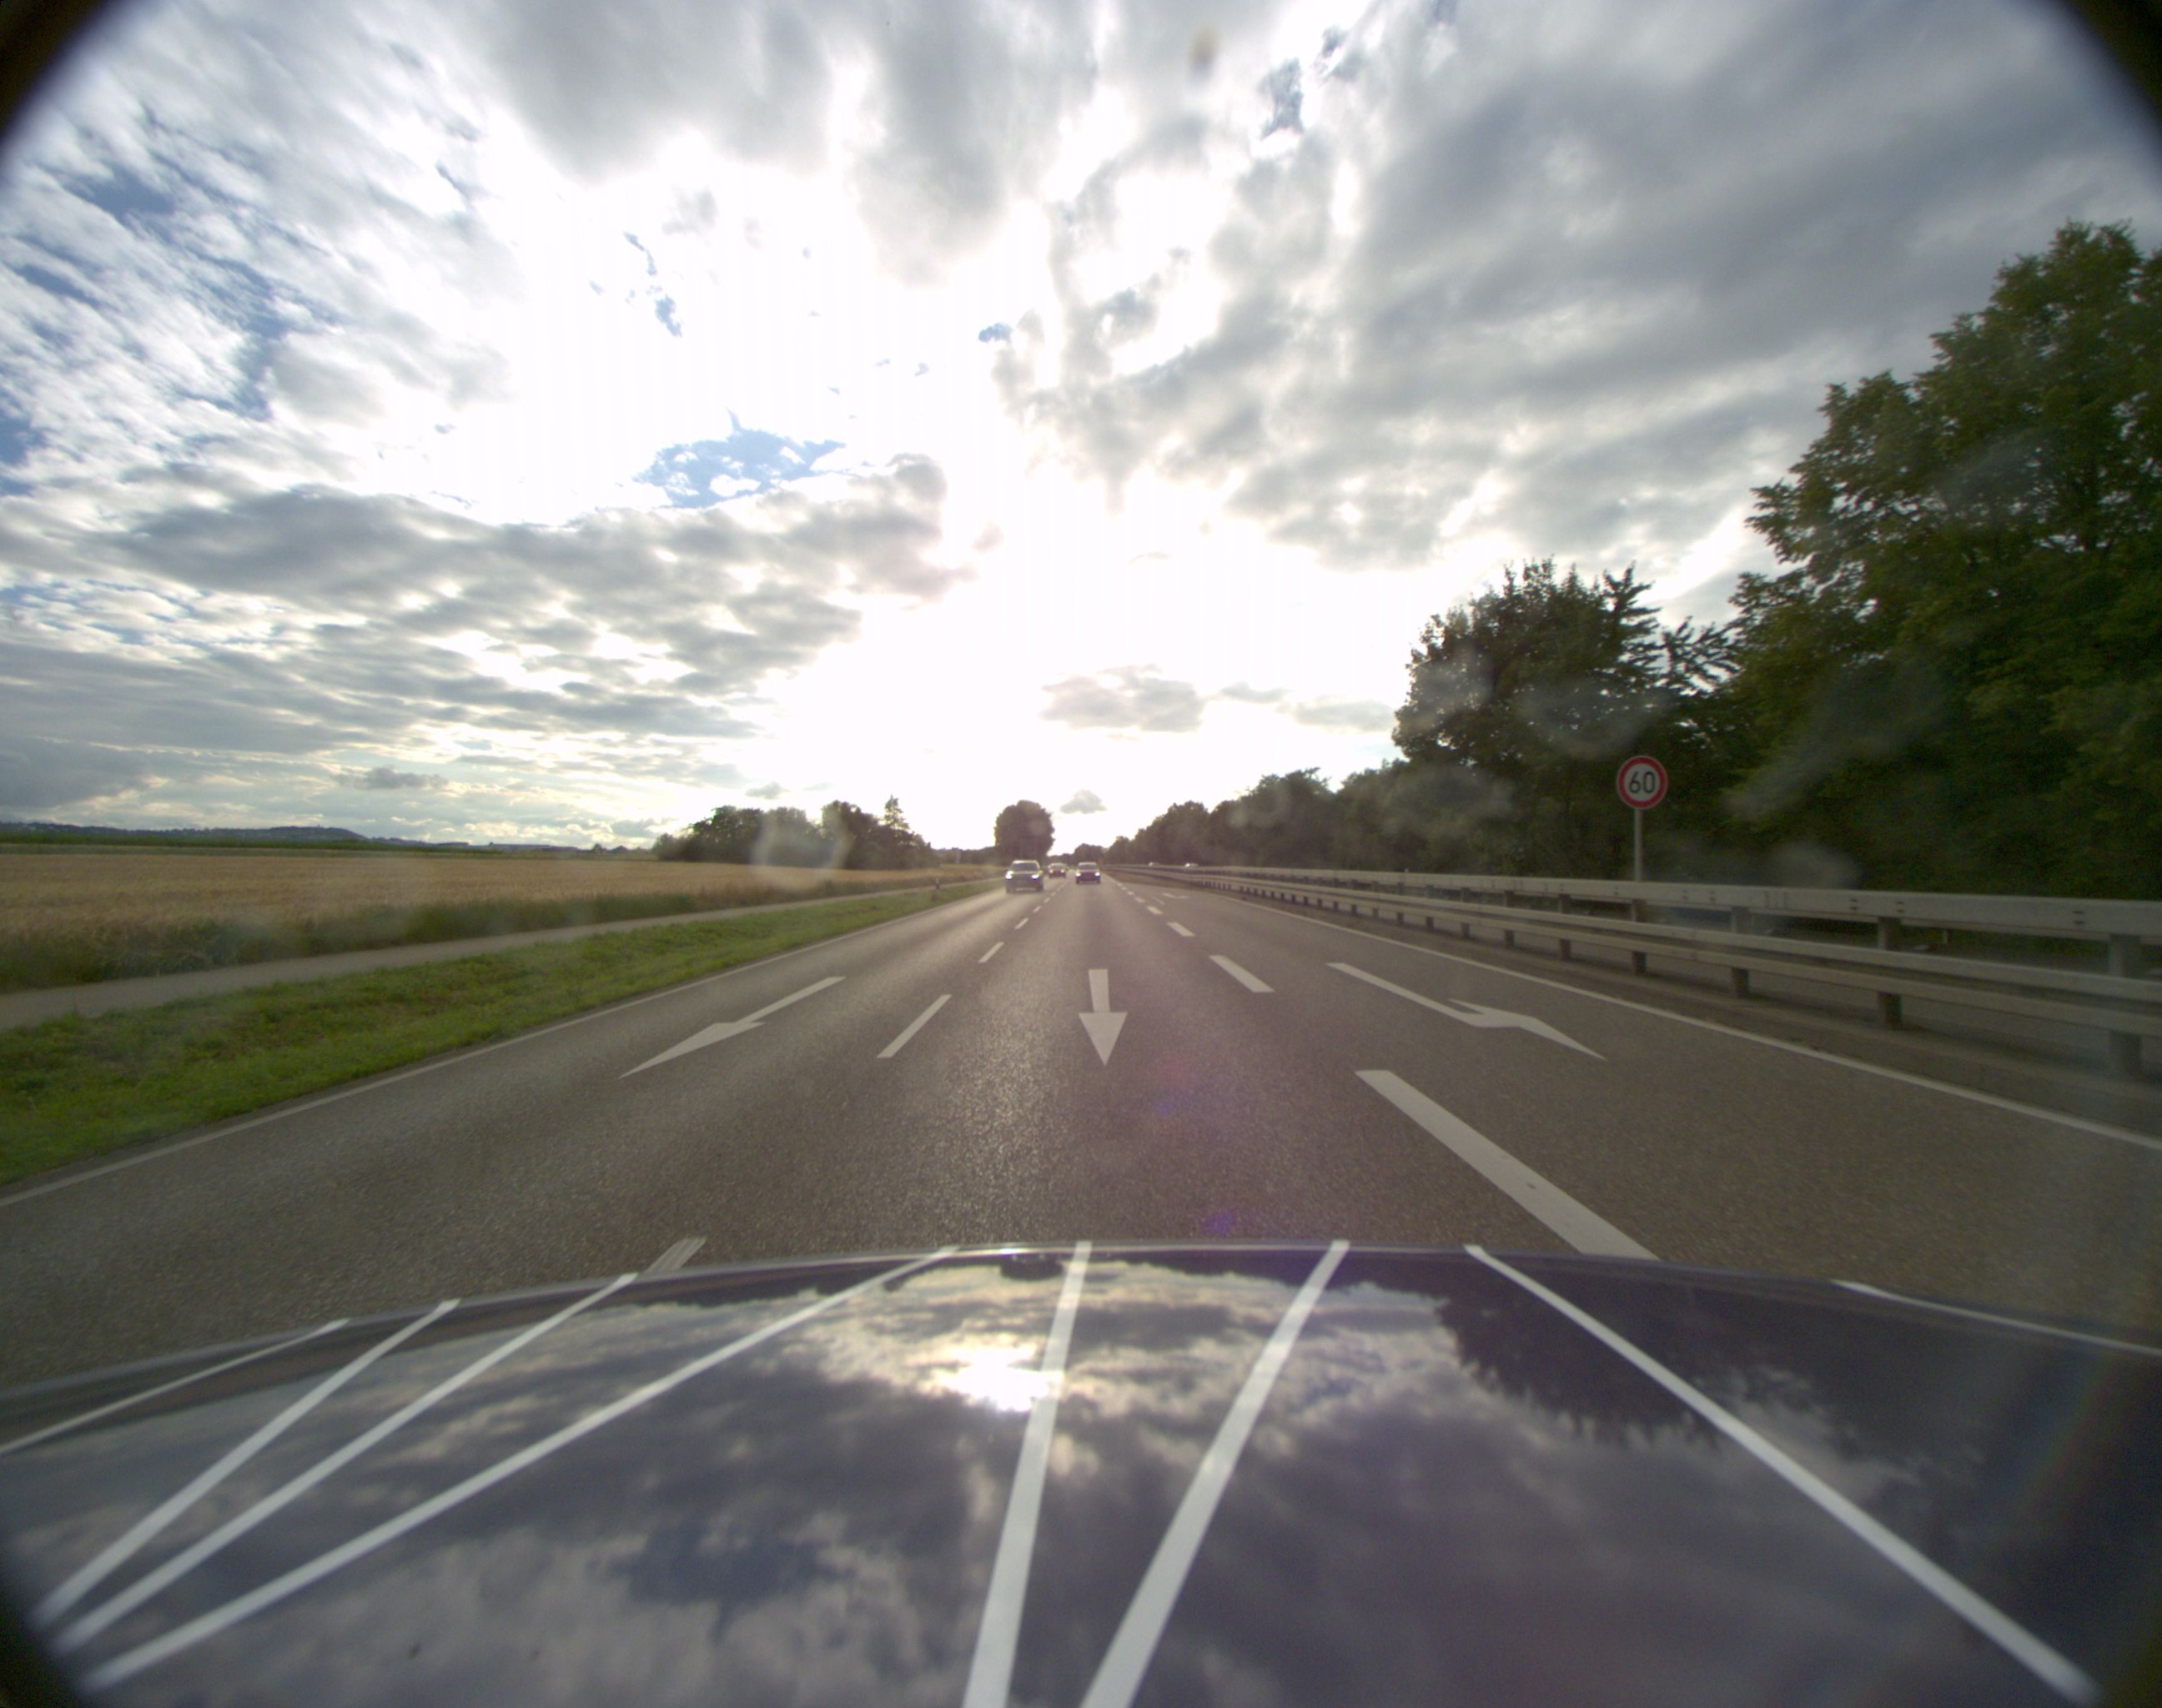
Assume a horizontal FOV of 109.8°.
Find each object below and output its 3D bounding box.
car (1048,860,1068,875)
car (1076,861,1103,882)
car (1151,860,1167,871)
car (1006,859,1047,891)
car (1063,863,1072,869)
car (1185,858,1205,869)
[{"bbox_3d":[-2.352,1.390,78.429,1.823,1.409,4.000,-1,0,0],"label":"car"},{"bbox_3d":[0.624,1.238,54.300,1.775,1.388,4.000,-1,0,1],"label":"car"},{"bbox_3d":[10.395,1.569,101.733,1.773,1.459,3.712,0,-1,0],"label":"car"},{"bbox_3d":[-2.943,1.093,41.706,1.863,1.636,4.000,-1,0,1],"label":"car"},{"bbox_3d":[-2.908,2.569,162.054,1.823,1.368,4.000,-1,0,-1],"label":"car"},{"bbox_3d":[14.000,1.188,93.668,1.763,1.404,4.459,0,-1,0],"label":"car"}]
